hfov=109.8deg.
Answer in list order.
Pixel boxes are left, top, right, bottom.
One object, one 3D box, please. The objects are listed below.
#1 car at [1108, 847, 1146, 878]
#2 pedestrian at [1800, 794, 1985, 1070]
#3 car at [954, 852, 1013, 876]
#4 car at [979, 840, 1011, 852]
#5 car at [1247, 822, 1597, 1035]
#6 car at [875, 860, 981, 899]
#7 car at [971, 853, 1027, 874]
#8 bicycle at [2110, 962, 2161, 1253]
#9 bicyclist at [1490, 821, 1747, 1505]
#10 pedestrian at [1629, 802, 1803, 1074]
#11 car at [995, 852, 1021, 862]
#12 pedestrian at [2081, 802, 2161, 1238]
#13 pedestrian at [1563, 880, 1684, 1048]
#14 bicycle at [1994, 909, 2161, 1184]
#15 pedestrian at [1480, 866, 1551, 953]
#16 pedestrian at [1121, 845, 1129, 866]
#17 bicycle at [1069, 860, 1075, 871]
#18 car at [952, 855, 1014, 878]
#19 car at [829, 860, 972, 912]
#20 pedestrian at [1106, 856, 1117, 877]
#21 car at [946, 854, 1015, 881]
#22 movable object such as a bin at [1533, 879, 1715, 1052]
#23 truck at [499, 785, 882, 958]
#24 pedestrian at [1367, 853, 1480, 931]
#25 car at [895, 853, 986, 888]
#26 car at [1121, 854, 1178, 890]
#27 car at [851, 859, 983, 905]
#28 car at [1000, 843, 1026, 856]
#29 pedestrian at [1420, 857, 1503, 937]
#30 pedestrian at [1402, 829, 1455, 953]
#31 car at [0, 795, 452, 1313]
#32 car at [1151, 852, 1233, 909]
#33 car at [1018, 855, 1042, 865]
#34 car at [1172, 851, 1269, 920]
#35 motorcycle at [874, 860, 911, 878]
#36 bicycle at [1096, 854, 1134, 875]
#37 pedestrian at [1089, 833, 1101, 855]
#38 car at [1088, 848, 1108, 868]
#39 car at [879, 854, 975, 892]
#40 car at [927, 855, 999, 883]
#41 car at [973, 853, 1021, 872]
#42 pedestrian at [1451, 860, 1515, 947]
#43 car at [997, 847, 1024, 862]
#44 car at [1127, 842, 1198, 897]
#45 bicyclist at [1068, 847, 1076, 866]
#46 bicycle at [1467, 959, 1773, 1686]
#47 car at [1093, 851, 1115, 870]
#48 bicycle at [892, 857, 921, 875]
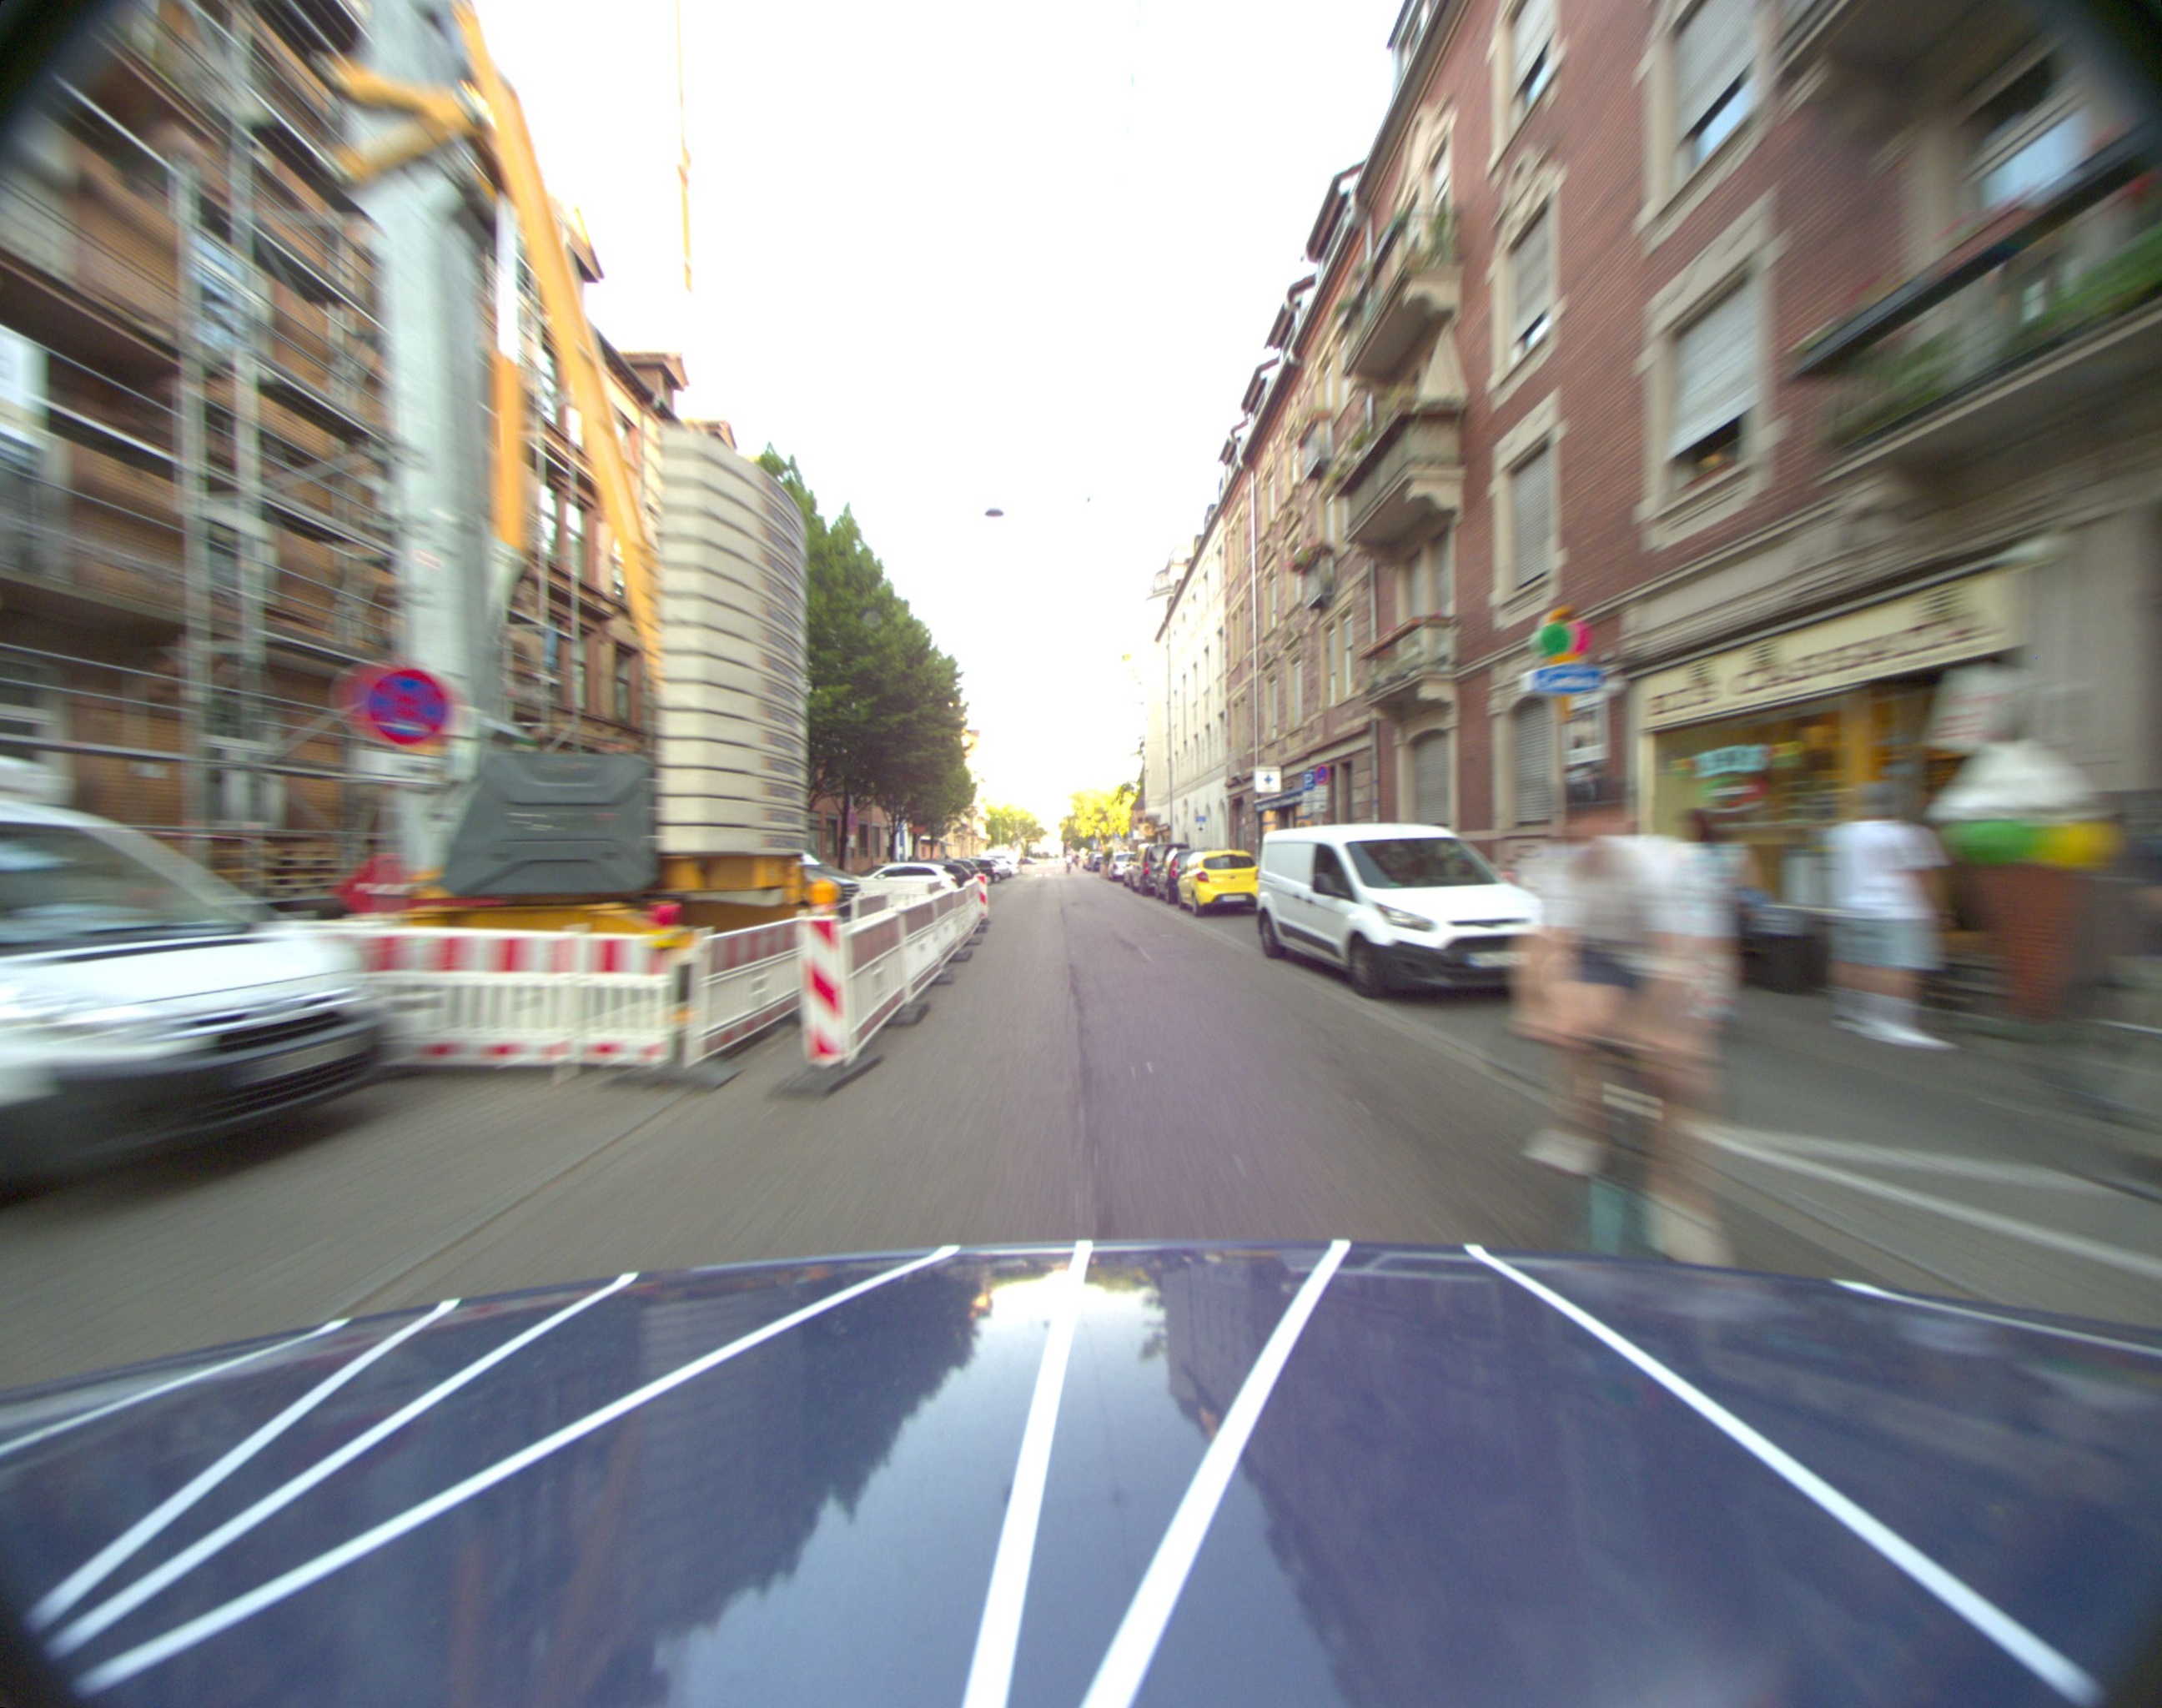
[{"bbox_3d":[2.580,0.471,43.408,1.730,1.638,3.915,-2,0,-2],"label":"car"},{"bbox_3d":[5.696,0.512,5.381,0.598,1.804,0.721,-2,1,16],"label":"pedestrian"},{"bbox_3d":[-7.020,0.736,54.818,3.841,1.639,1.673,1,1,-29],"label":"car"},{"bbox_3d":[-11.194,-1.031,99.184,3.841,1.510,1.673,1,1,-30],"label":"car"},{"bbox_3d":[3.471,0.614,8.872,1.775,1.778,4.585,-2,1,-3],"label":"car"},{"bbox_3d":[-5.999,0.972,29.875,3.639,1.412,1.826,1,0,-33],"label":"car"},{"bbox_3d":[-6.259,0.713,58.008,3.842,1.510,1.673,1,1,-34],"label":"car"},{"bbox_3d":[4.244,0.964,2.211,0.467,1.062,1.520,-2,1,2],"label":"bicycle"},{"bbox_3d":[1.641,0.758,2.332,0.527,1.694,0.791,-1,2,37],"label":"bicyclist"},{"bbox_3d":[4.543,0.556,5.471,0.600,1.804,0.720,-3,1,-10],"label":"pedestrian"},{"bbox_3d":[-11.808,0.500,122.301,3.842,1.510,1.673,1,1,-37],"label":"car"},{"bbox_3d":[4.386,0.642,3.008,0.419,1.699,0.350,-2,1,-7],"label":"pedestrian"},{"bbox_3d":[4.373,0.856,6.158,0.479,1.244,0.652,-2,1,-1],"label":"pedestrian"},{"bbox_3d":[4.976,0.891,3.003,0.466,1.148,2.001,-2,1,5],"label":"bicycle"},{"bbox_3d":[6.035,0.753,10.576,0.633,1.133,0.573,-2,1,-4],"label":"pedestrian"},{"bbox_3d":[3.582,0.116,61.613,0.566,1.723,0.562,-2,1,-3],"label":"pedestrian"},{"bbox_3d":[-0.782,1.004,66.155,0.477,0.938,1.895,-2,1,-3],"label":"bicycle"},{"bbox_3d":[-6.698,0.862,52.103,3.841,1.422,1.673,1,1,-31],"label":"car"},{"bbox_3d":[-5.638,0.980,23.913,4.003,1.479,1.680,1,0,-36],"label":"car"},{"bbox_3d":[1.926,0.797,48.262,0.571,1.315,0.496,-2,1,-3],"label":"pedestrian"},{"bbox_3d":[-6.210,0.847,46.939,3.841,1.556,1.673,1,1,-32],"label":"car"},{"bbox_3d":[4.342,0.858,6.137,0.890,1.244,0.776,-2,1,-1],"label":"movable object such as a bin"},{"bbox_3d":[-7.784,0.323,15.755,6.496,3.059,2.524,-2,1,2],"label":"truck"},{"bbox_3d":[5.680,0.612,12.632,1.566,1.196,0.641,-2,1,-4],"label":"pedestrian"},{"bbox_3d":[-6.520,0.759,35.295,3.807,1.508,1.646,1,0,-34],"label":"car"},{"bbox_3d":[3.004,0.761,34.327,1.932,1.422,4.480,-1,0,-3],"label":"car"},{"bbox_3d":[-5.769,0.955,26.895,4.179,1.479,1.826,1,0,-38],"label":"car"},{"bbox_3d":[-11.965,-0.763,133.851,4.202,2.246,1.673,1,1,-37],"label":"car"},{"bbox_3d":[6.026,0.666,12.066,1.041,1.196,0.503,-2,1,-4],"label":"pedestrian"},{"bbox_3d":[4.983,0.513,10.881,0.619,1.720,0.586,-2,2,26],"label":"pedestrian"},{"bbox_3d":[-6.520,0.712,3.695,5.187,1.944,1.899,1,-1,-3],"label":"car"},{"bbox_3d":[3.352,0.761,23.691,1.932,1.587,3.969,-1,0,0],"label":"car"},{"bbox_3d":[-9.670,1.070,144.456,4.072,1.688,1.681,2,1,23],"label":"car"},{"bbox_3d":[3.369,0.697,19.021,1.709,1.521,3.792,-1,0,0],"label":"car"},{"bbox_3d":[-11.040,0.870,44.524,1.984,0.920,0.591,2,1,12],"label":"motorcycle"},{"bbox_3d":[2.403,0.719,53.849,2.619,1.390,0.601,-2,1,11],"label":"bicycle"},{"bbox_3d":[1.859,-1.328,99.677,1.445,2.725,1.011,-2,1,-3],"label":"pedestrian"},{"bbox_3d":[1.627,0.369,74.302,1.786,1.860,4.456,-2,1,0],"label":"car"},{"bbox_3d":[-6.534,0.801,32.237,3.638,1.508,1.621,1,0,-30],"label":"car"},{"bbox_3d":[-6.863,0.870,44.213,3.839,1.556,1.674,1,1,-23],"label":"car"},{"bbox_3d":[-7.290,0.759,65.781,3.838,1.510,1.675,1,1,-17],"label":"car"},{"bbox_3d":[6.075,0.731,11.503,0.620,1.244,0.585,-2,1,-4],"label":"pedestrian"},{"bbox_3d":[-11.658,0.062,125.428,4.202,2.280,1.673,1,1,-41],"label":"car"},{"bbox_3d":[3.010,0.534,28.933,1.932,1.872,4.903,-1,0,-3],"label":"car"},{"bbox_3d":[-0.801,0.211,65.997,0.624,1.682,1.003,-2,1,-3],"label":"bicyclist"},{"bbox_3d":[1.666,1.043,2.357,0.519,1.148,1.786,-1,1,36],"label":"bicycle"},{"bbox_3d":[2.085,0.590,69.338,1.786,1.537,3.999,-2,1,0],"label":"car"},{"bbox_3d":[-11.522,0.804,50.308,1.770,1.094,0.546,3,0,-9],"label":"bicycle"}]
